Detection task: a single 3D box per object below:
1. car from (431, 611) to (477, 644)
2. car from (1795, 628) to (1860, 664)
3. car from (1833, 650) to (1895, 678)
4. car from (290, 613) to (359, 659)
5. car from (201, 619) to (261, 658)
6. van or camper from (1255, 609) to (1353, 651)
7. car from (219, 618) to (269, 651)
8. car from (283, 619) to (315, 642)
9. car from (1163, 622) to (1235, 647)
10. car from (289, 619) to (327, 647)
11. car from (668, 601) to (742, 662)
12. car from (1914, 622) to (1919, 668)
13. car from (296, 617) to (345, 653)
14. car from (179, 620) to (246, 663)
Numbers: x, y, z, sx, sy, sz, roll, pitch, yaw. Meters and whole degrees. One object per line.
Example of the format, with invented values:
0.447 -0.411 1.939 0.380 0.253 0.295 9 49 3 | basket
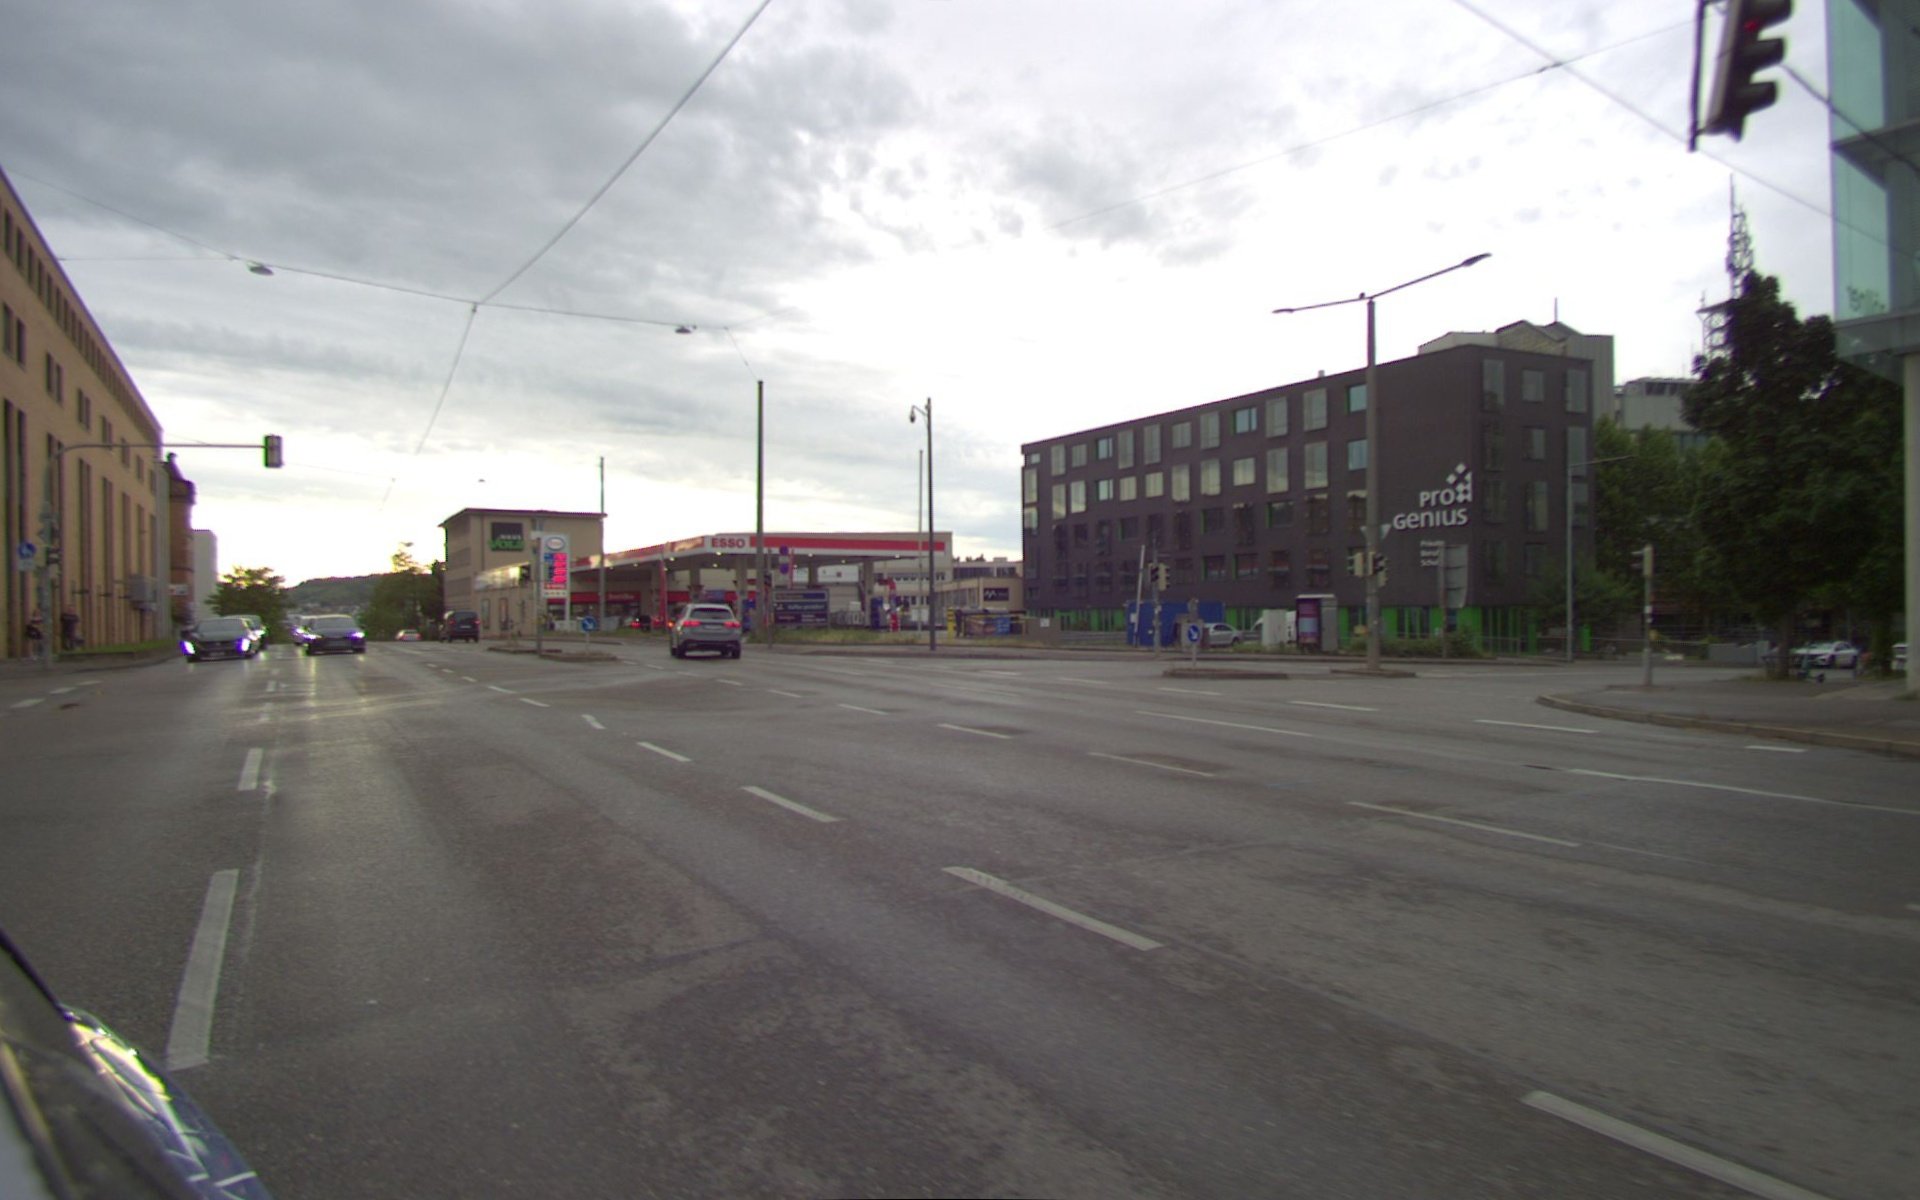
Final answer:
-29.473 1.585 58.893 1.827 1.781 4.142 2 -1 -34 | car
52.452 2.781 61.166 3.933 2.029 2.005 2 0 -35 | car
56.680 4.011 63.439 3.790 1.606 1.690 2 0 -28 | car
-23.461 1.283 37.277 1.933 1.537 4.273 -2 0 -35 | car
-29.326 1.510 40.783 1.669 1.411 4.100 -2 0 -32 | car
21.965 1.884 64.786 2.693 2.386 5.361 2 0 -35 | van or camper
-33.216 1.570 47.029 1.669 1.411 4.100 -2 0 -32 | car
-43.143 1.979 66.125 1.669 1.411 4.100 -2 0 -32 | car
13.996 2.040 59.238 3.931 1.298 1.808 2 0 -30 | car
-35.504 1.761 55.183 1.669 1.411 4.100 -2 0 -32 | car
-7.784 0.911 31.261 1.883 1.644 4.220 1 1 -10 | car
37.786 1.753 38.479 3.940 1.730 2.002 2 0 -44 | car
-27.331 1.453 43.313 1.669 1.411 4.100 -2 0 -32 | car
-25.489 1.369 34.604 1.623 1.331 4.010 -2 0 -34 | car
